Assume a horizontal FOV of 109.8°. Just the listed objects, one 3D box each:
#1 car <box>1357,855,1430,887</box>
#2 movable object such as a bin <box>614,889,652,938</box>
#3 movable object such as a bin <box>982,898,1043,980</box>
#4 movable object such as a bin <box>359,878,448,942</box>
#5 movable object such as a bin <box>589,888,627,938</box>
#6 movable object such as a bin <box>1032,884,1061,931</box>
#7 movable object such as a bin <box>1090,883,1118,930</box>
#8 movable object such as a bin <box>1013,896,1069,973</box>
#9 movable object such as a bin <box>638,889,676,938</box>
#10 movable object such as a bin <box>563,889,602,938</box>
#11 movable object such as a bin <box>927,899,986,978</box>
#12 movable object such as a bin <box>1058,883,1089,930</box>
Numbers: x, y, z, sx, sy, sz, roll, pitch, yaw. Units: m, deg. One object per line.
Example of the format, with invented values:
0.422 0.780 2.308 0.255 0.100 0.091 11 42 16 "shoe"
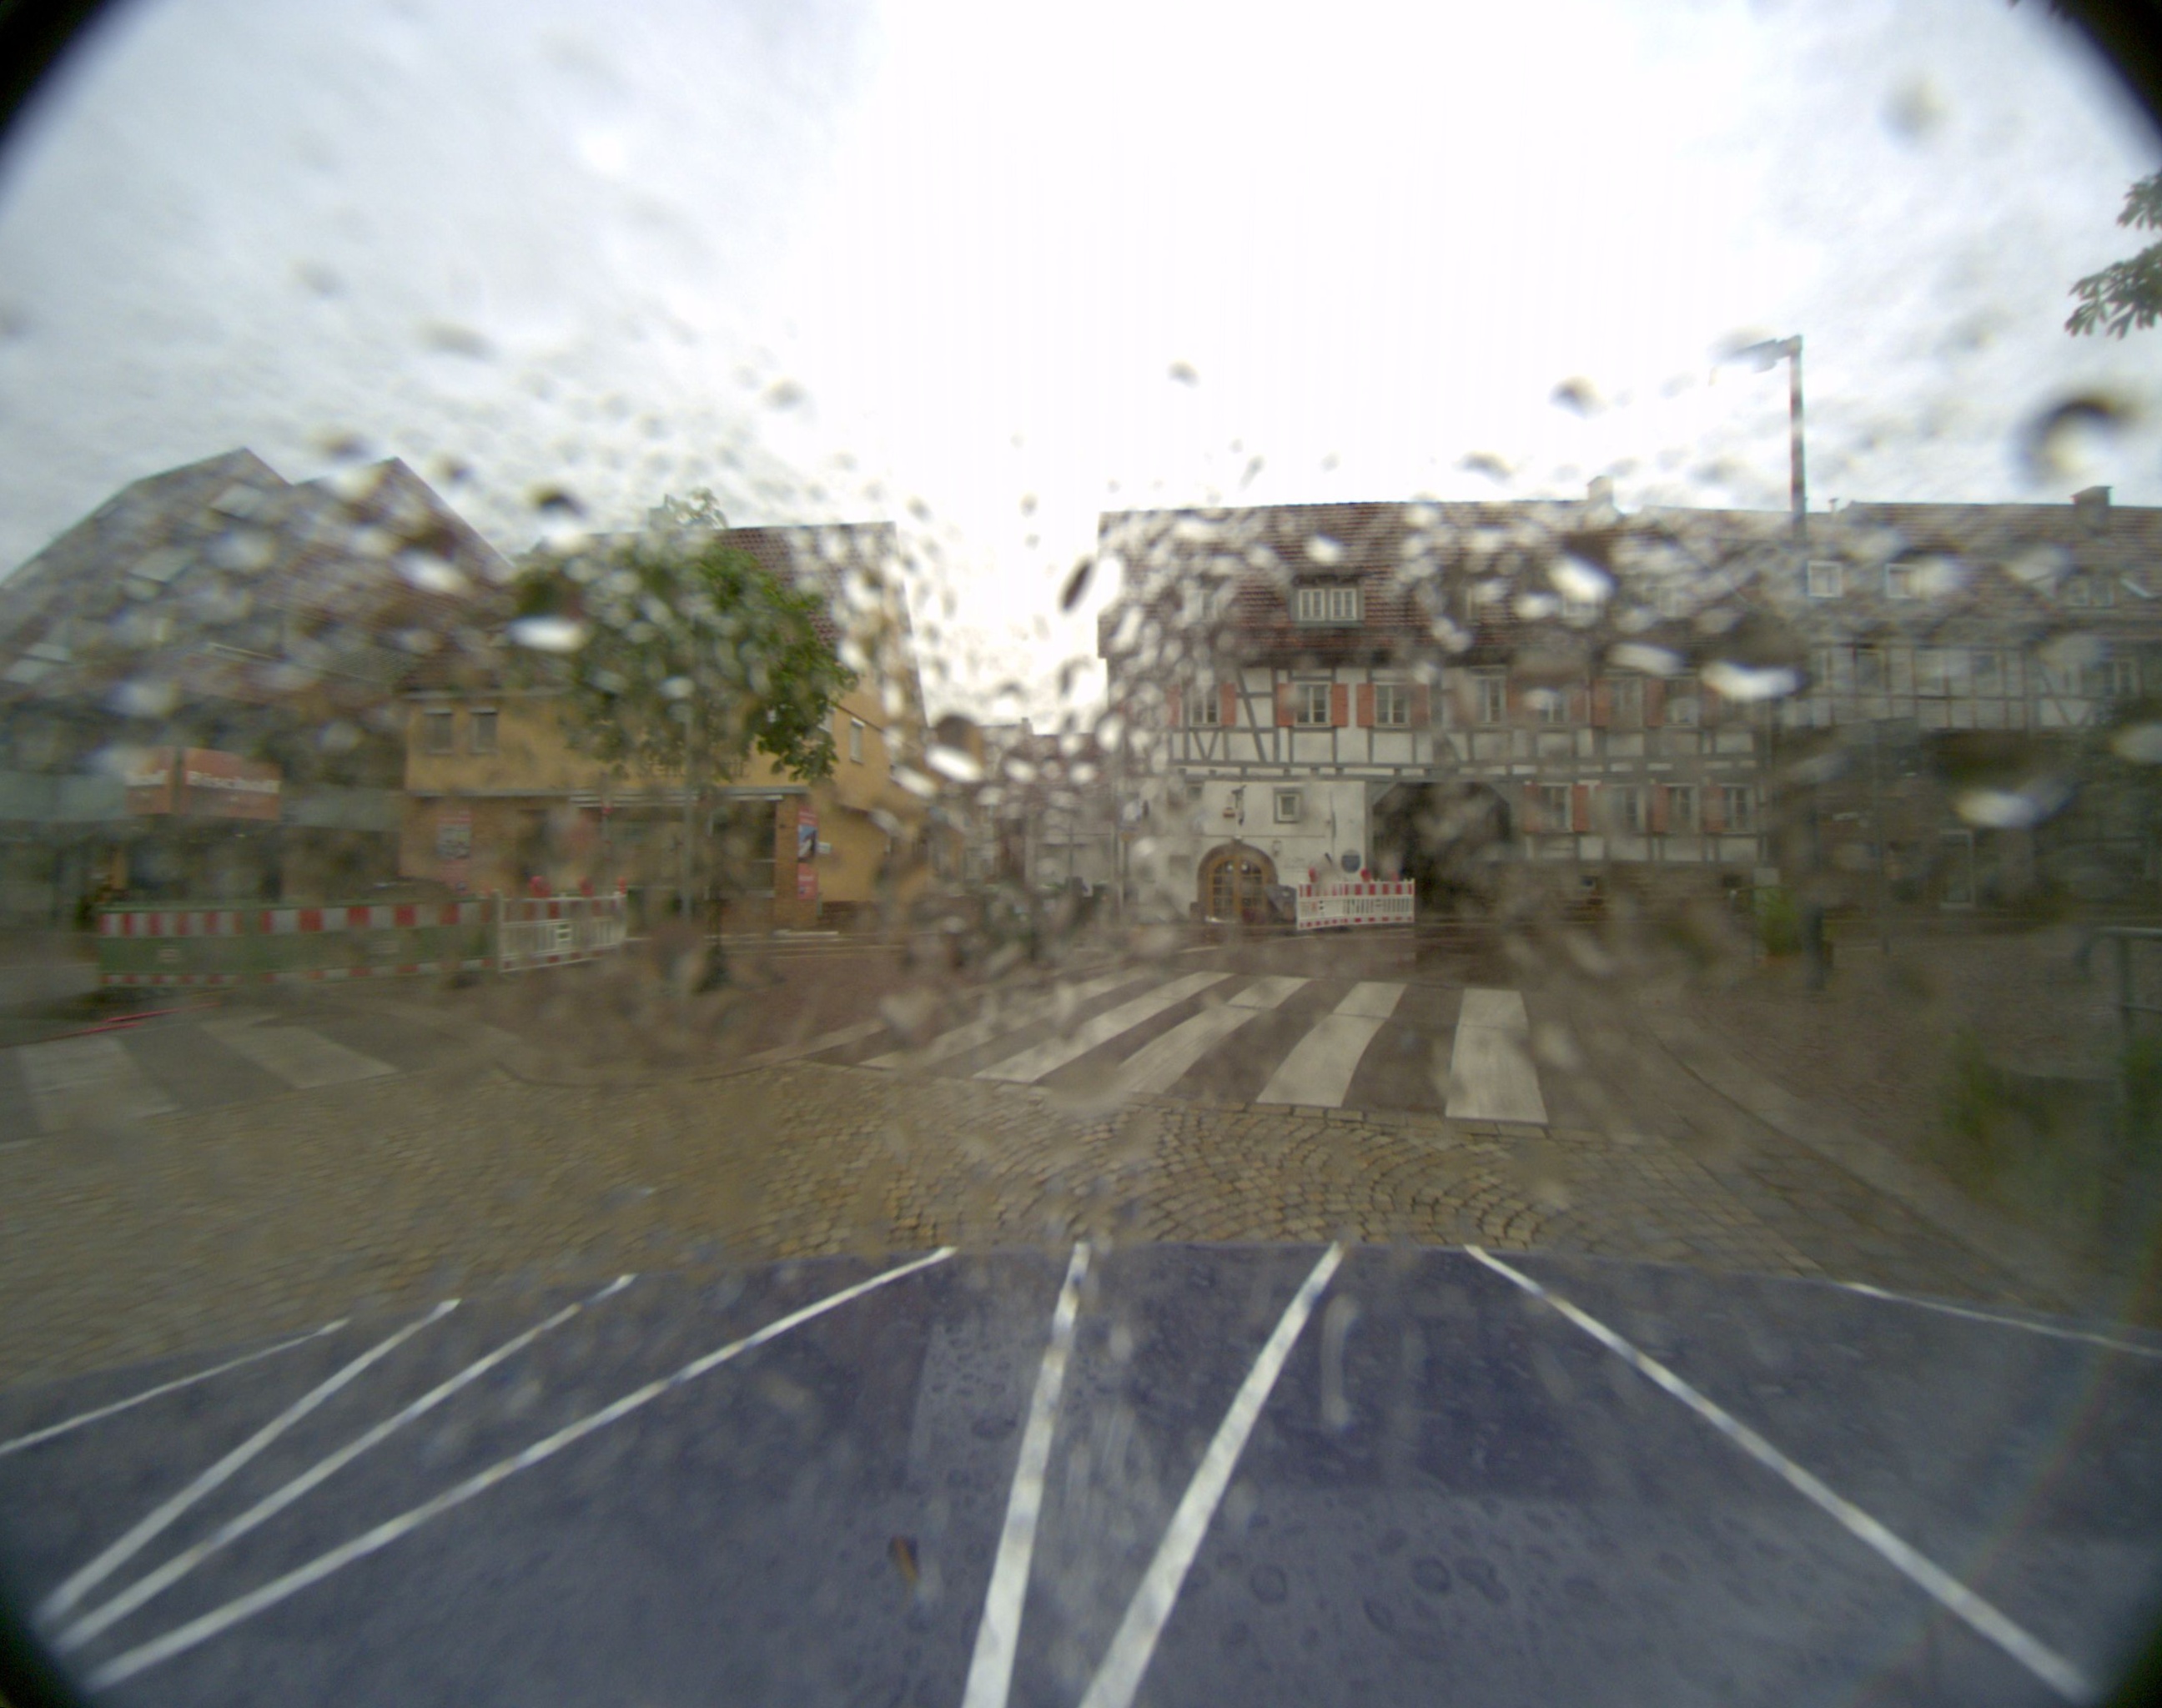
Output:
15.158 0.833 36.943 2.982 1.442 1.414 -1 -2 9 "car"
-10.729 1.416 18.193 0.579 1.122 0.517 1 2 3 "movable object such as a bin"
-0.932 1.137 10.306 0.570 1.030 0.543 -3 -1 33 "movable object such as a bin"
-16.832 1.375 18.906 1.240 1.504 1.069 0 1 7 "movable object such as a bin"
-11.337 1.412 18.229 0.579 1.127 0.517 1 2 3 "movable object such as a bin"
-0.813 1.247 17.859 0.586 1.059 0.681 -1 0 5 "movable object such as a bin"
0.528 1.211 17.650 0.540 1.059 0.680 -1 0 -6 "movable object such as a bin"
-0.571 1.132 10.852 0.533 1.026 0.546 -3 -1 33 "movable object such as a bin"
-10.122 1.415 18.153 0.579 1.125 0.519 0 1 3 "movable object such as a bin"
-11.971 1.415 18.268 0.579 1.122 0.517 0 1 3 "movable object such as a bin"
-1.693 1.125 10.324 0.566 0.998 0.512 -2 0 42 "movable object such as a bin"
-0.174 1.222 17.688 0.539 1.059 0.619 -2 0 16 "movable object such as a bin"
